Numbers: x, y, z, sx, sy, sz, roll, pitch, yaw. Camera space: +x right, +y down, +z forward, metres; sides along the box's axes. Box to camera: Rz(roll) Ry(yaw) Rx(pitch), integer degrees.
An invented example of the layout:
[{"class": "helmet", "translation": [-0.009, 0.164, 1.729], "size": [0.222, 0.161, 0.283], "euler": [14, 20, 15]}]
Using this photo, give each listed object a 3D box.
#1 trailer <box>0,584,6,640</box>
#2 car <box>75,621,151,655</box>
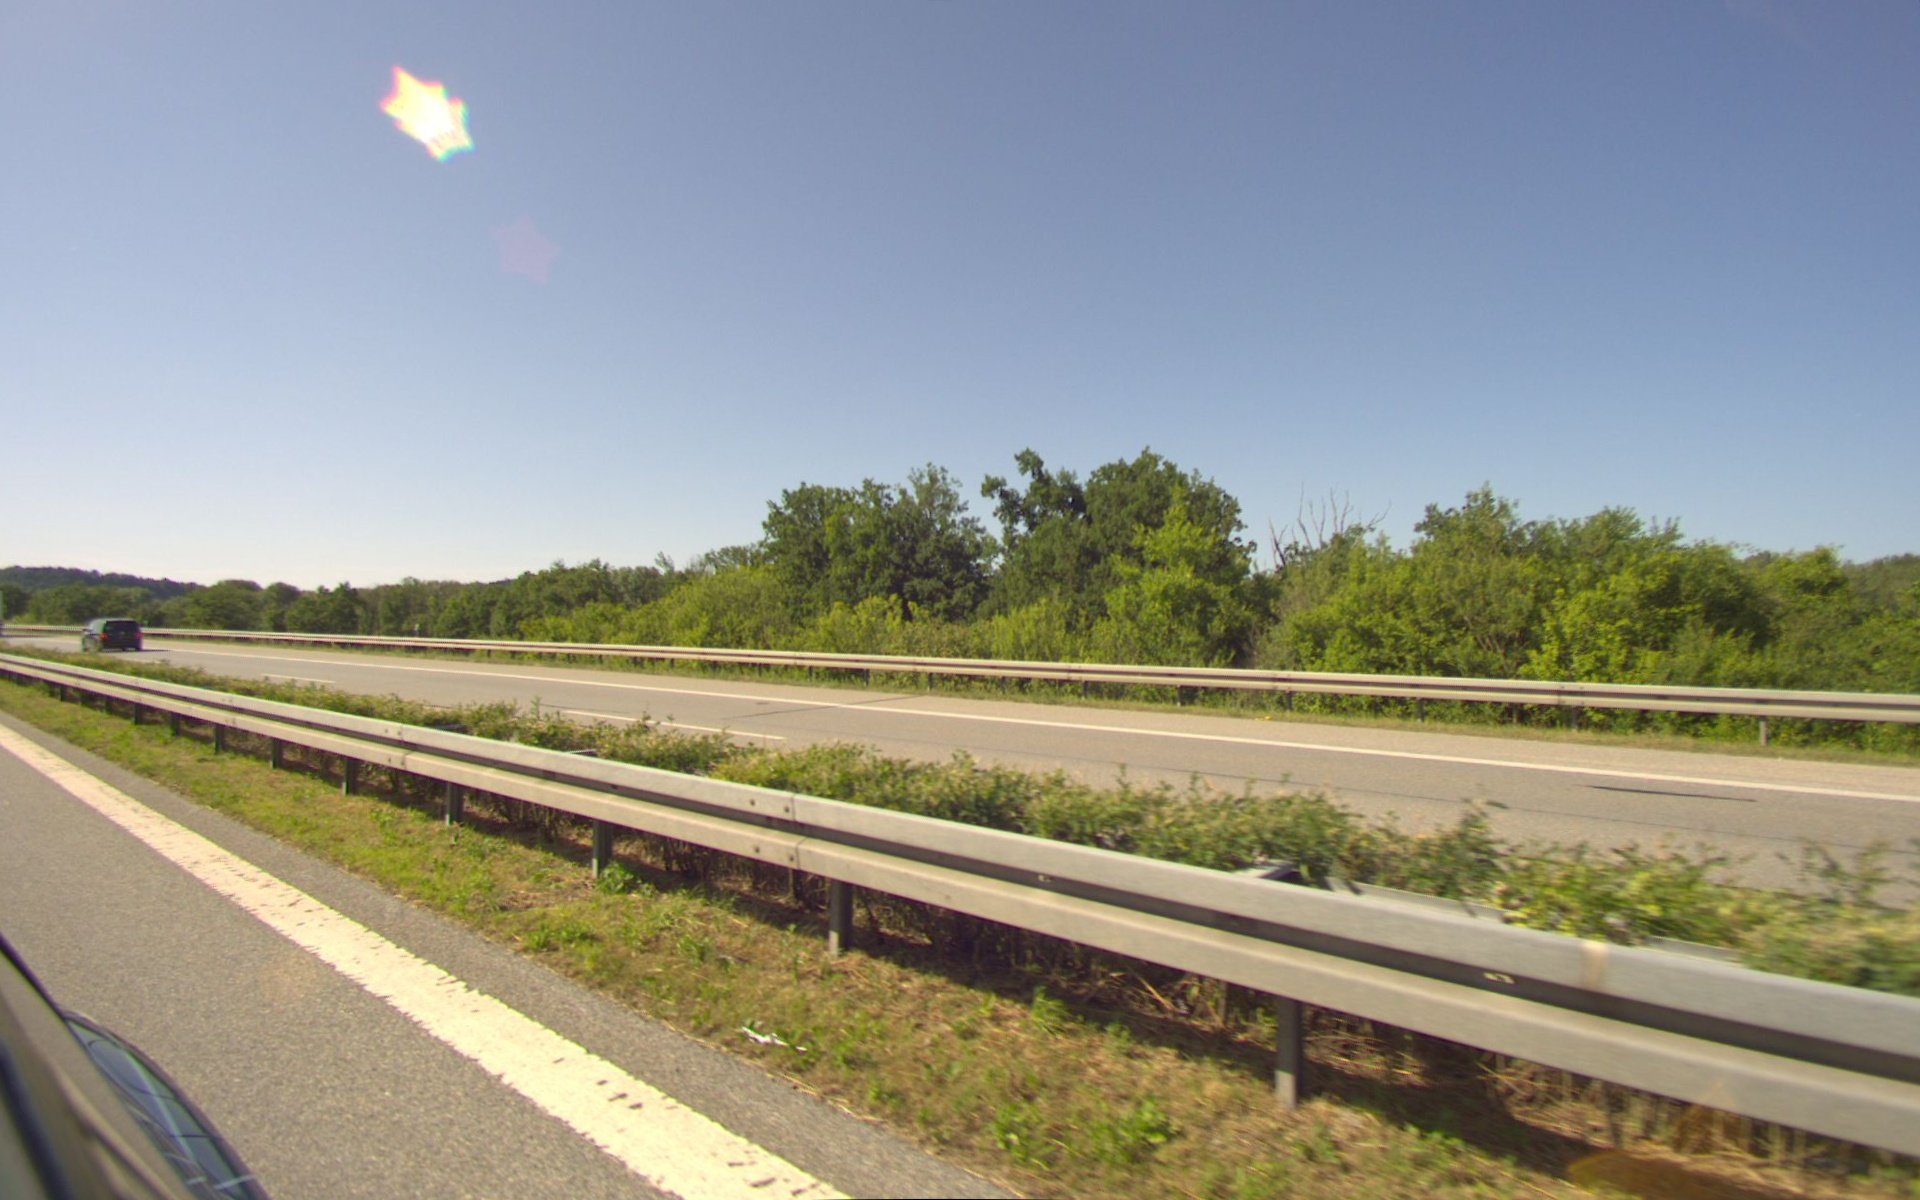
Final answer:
[{"class": "trailer", "translation": [-83.043, 1.041, 84.609], "size": [13.733, 4.488, 3.064], "euler": [-1, -1, 39]}, {"class": "car", "translation": [-41.529, 1.840, 49.608], "size": [4.862, 1.612, 1.940], "euler": [-1, -2, 39]}]
